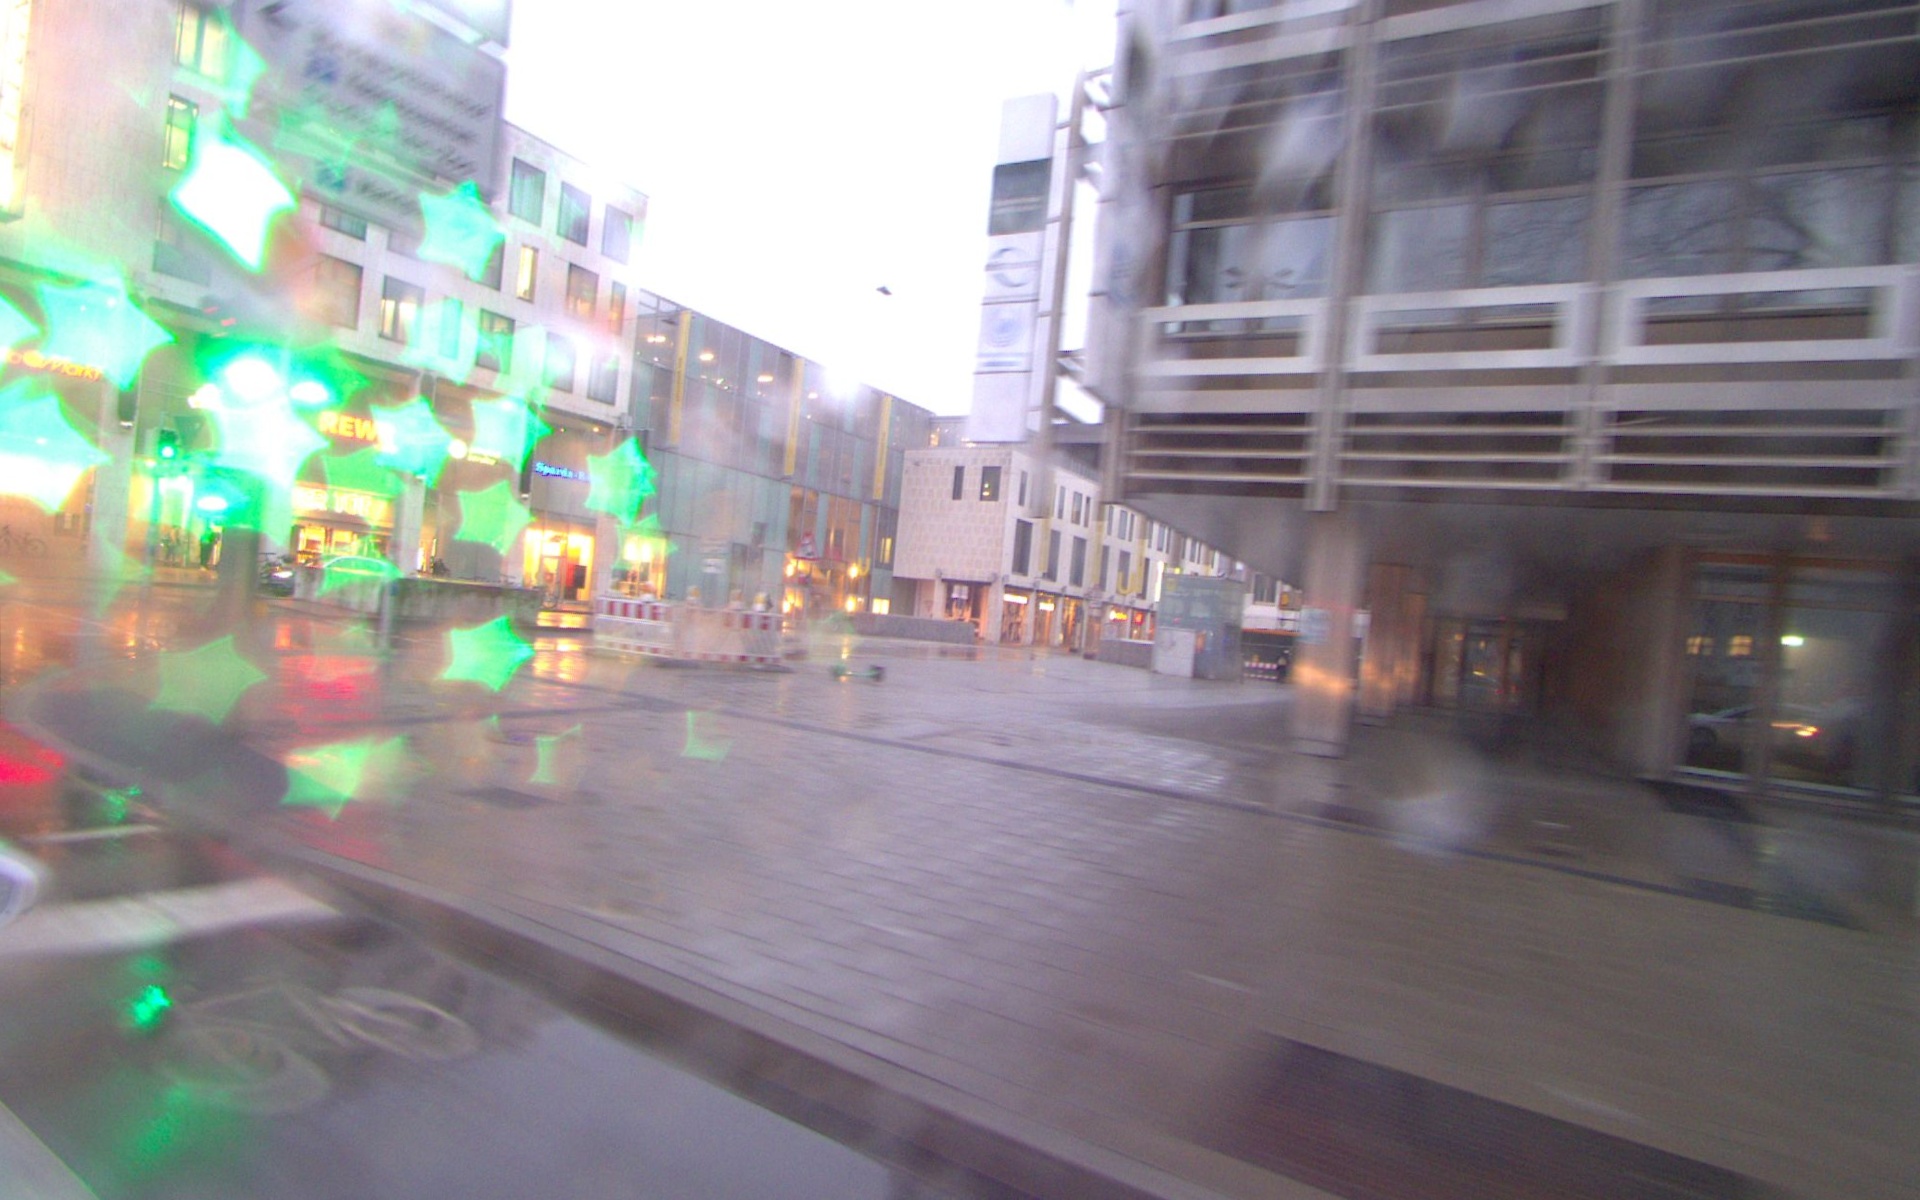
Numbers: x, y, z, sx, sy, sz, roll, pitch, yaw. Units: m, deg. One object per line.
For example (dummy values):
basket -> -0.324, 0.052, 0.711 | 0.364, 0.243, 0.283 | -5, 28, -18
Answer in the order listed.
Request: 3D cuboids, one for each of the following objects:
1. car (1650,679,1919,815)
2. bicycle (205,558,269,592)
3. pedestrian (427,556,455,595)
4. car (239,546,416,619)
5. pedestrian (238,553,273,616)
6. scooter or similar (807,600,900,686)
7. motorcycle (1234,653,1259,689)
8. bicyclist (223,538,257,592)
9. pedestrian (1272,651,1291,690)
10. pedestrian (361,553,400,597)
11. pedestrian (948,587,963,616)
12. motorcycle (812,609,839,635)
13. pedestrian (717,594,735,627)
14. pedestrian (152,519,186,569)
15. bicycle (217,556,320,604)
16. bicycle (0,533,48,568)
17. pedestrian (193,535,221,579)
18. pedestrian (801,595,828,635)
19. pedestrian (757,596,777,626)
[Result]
car -> 11.694, 1.953, 13.386 | 3.935, 1.326, 1.995 | 5, 0, 32
bicycle -> -28.371, -0.979, 39.488 | 1.950, 1.099, 0.917 | 7, -1, -37
pedestrian -> -24.119, -1.115, 46.731 | 0.519, 1.705, 0.894 | 5, 0, 31
car -> -19.103, -0.502, 30.553 | 1.967, 1.636, 3.994 | 5, -3, 32
pedestrian -> -28.996, -0.632, 41.419 | 0.745, 2.469, 0.716 | 5, -2, 31
scooter or similar -> -1.949, 0.782, 18.358 | 1.470, 1.368, 0.593 | 6, -1, 31
motorcycle -> 12.031, 2.983, 42.241 | 0.584, 1.368, 1.494 | 6, -2, 28
bicyclist -> -28.294, -1.375, 39.521 | 0.916, 2.038, 0.898 | 6, 0, -36
pedestrian -> 15.423, 3.408, 48.326 | 0.678, 1.796, 0.660 | 6, -2, 15
pedestrian -> -24.580, -1.072, 42.685 | 0.810, 1.703, 1.032 | 5, -2, 31
pedestrian -> -0.263, 0.094, 62.256 | 0.573, 1.703, 0.542 | 5, -2, 37
motorcycle -> -7.899, 1.285, 59.258 | 0.585, 1.368, 1.491 | 6, -2, 35
pedestrian -> -12.869, 0.579, 55.234 | 0.573, 1.703, 0.542 | 5, -2, 37
pedestrian -> -33.805, -2.390, 42.997 | 0.688, 2.038, 0.845 | 6, 0, 40
bicycle -> -23.843, -0.670, 34.772 | 0.941, 1.375, 2.718 | 5, -1, 28
bicycle -> -34.052, -1.819, 36.203 | 0.515, 1.082, 1.651 | 5, -3, 27
pedestrian -> -31.292, -1.764, 41.821 | 0.729, 1.739, 0.733 | 5, 0, -31
pedestrian -> -6.647, 0.677, 45.986 | 0.770, 1.703, 0.742 | 5, -2, 37
pedestrian -> -11.724, 0.650, 61.105 | 0.770, 1.703, 0.742 | 5, -2, 37
